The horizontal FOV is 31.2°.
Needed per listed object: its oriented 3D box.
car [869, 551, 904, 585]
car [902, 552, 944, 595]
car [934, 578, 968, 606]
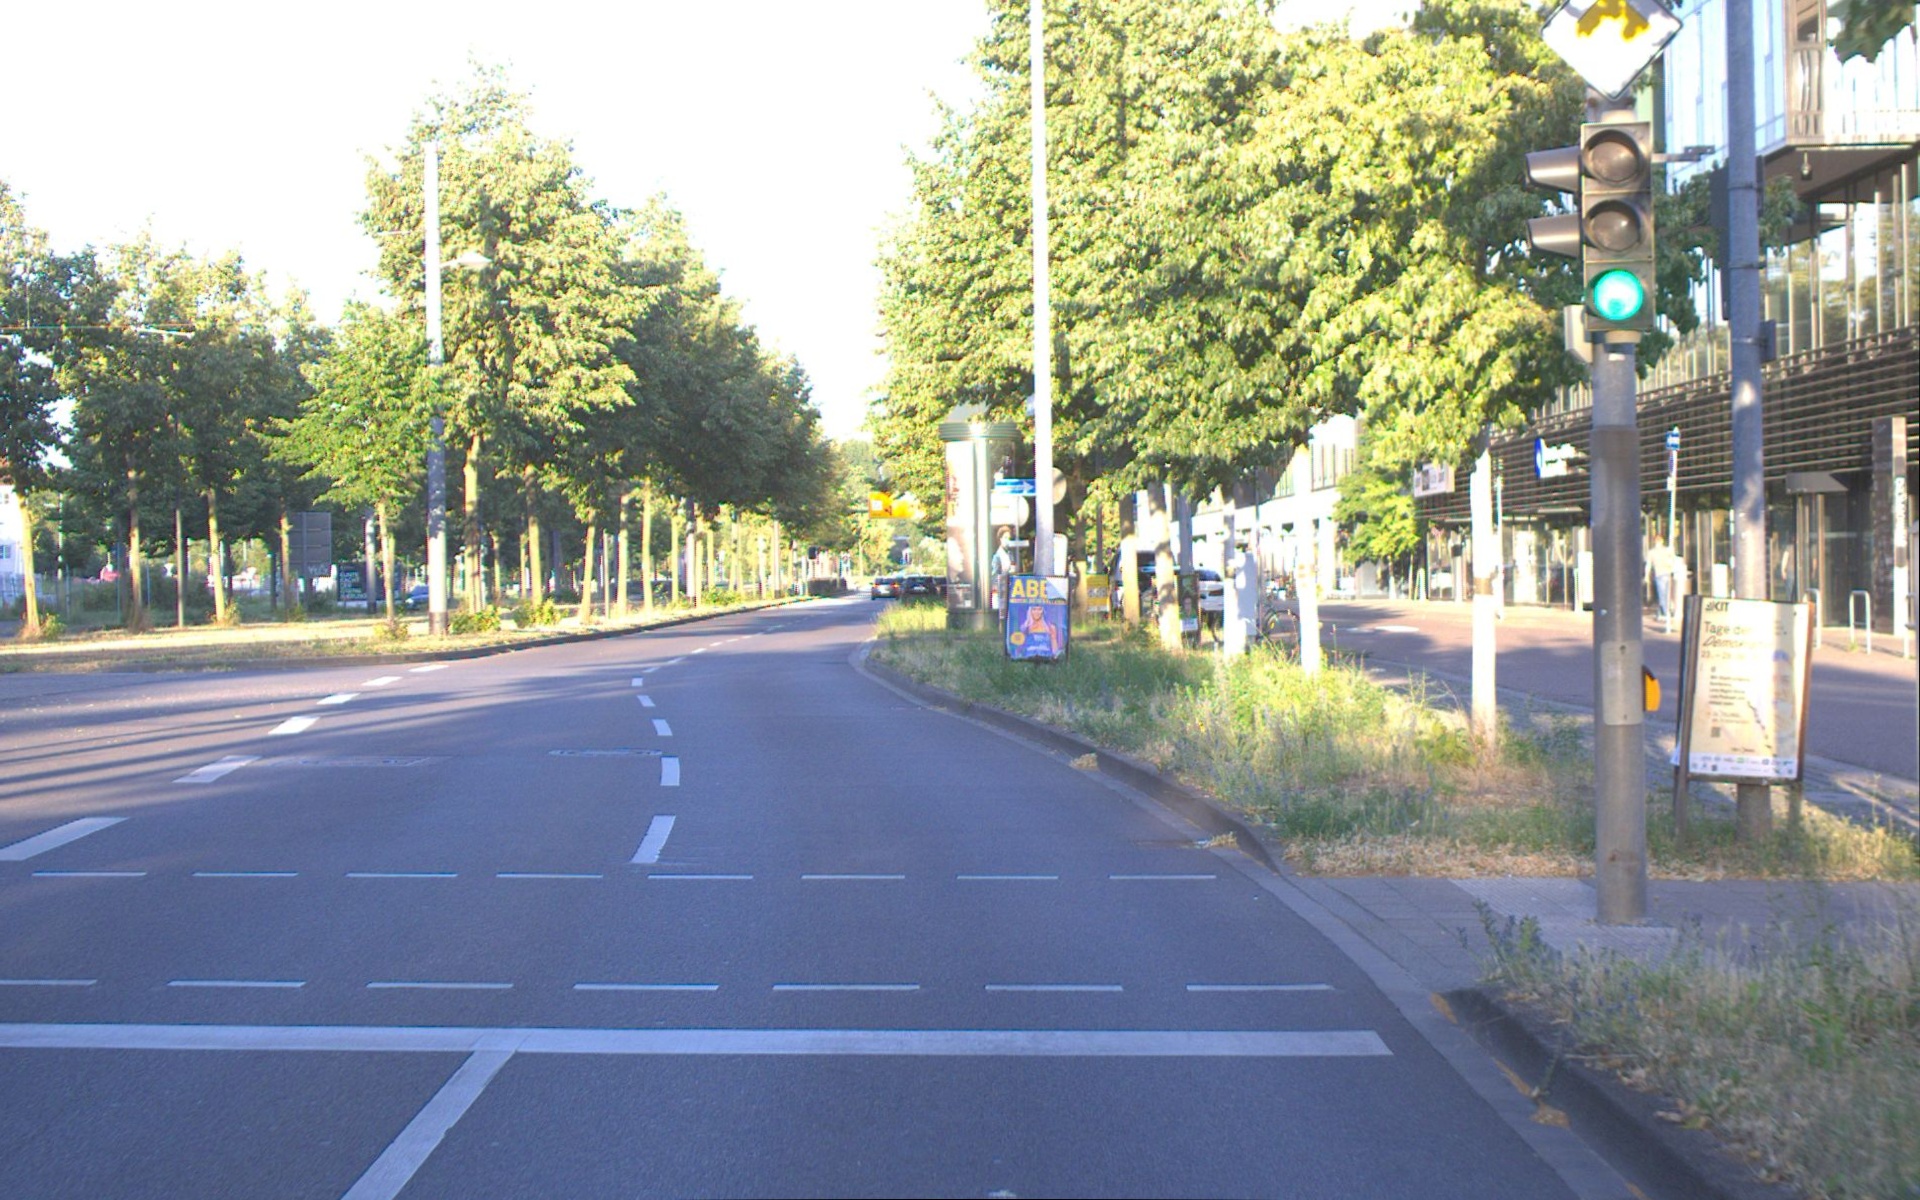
[{"bbox_3d":[-4.522,-1.962,211.837,2.087,2.007,4.000,-1,1,-1],"label":"car"},{"bbox_3d":[-1.831,-1.323,169.535,1.993,2.007,4.000,-1,1,-1],"label":"car"},{"bbox_3d":[-0.498,-0.473,196.565,1.873,1.568,3.677,-1,1,1],"label":"car"}]
